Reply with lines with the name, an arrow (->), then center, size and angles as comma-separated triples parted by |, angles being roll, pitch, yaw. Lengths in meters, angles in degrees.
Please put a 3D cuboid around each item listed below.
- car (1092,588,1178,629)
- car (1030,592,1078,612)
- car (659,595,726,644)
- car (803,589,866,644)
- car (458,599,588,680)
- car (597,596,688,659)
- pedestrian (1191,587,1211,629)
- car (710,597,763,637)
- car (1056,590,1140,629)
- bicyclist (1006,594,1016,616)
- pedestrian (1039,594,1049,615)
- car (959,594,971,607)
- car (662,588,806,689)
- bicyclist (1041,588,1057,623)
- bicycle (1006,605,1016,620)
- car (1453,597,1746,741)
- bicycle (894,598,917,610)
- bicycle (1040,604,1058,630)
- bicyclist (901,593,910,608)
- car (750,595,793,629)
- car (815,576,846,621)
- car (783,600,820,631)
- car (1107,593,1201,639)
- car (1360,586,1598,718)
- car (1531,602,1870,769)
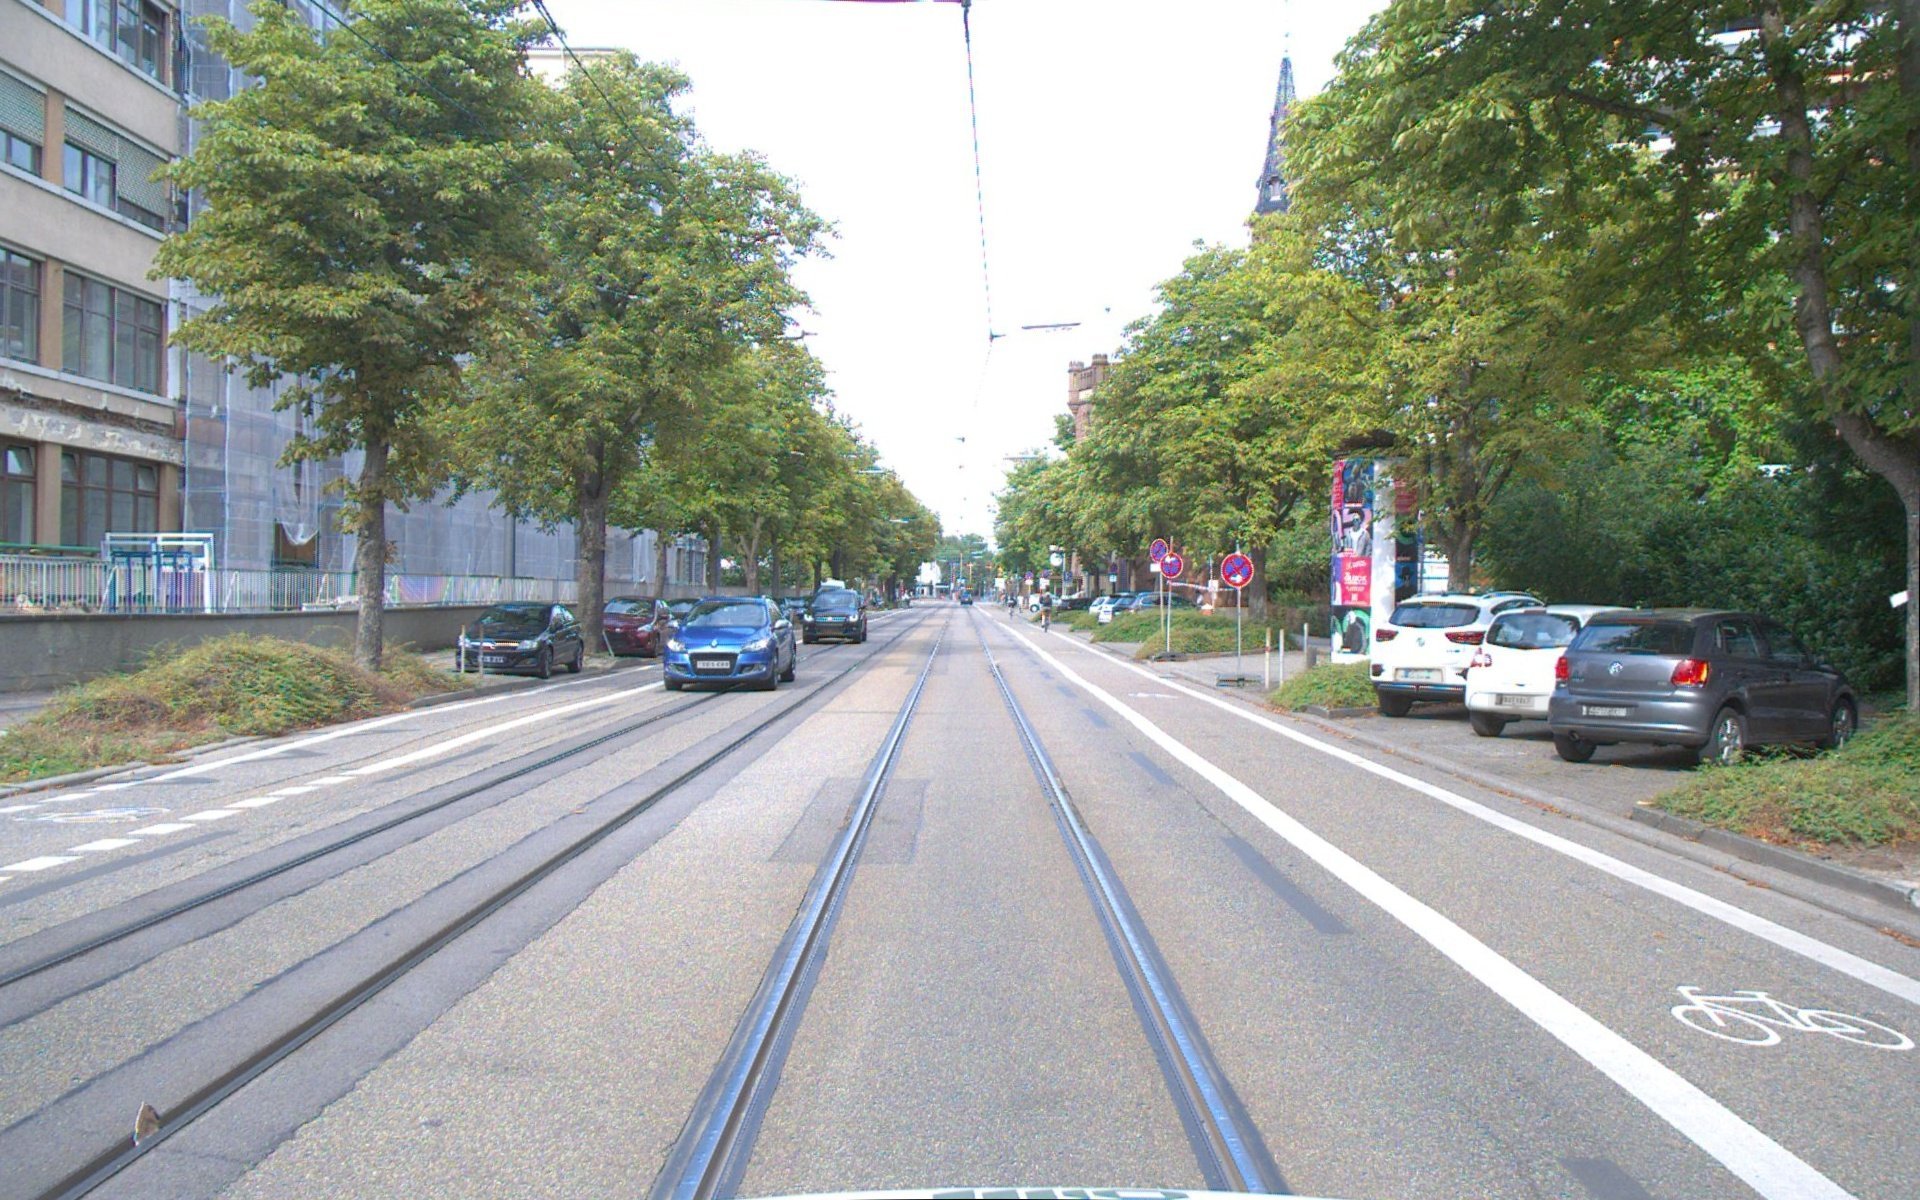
car -> 7.229, 0.358, 68.226 | 1.654, 1.630, 3.621 | 0, 0, 44
car -> 8.236, 0.170, 144.605 | 3.910, 1.722, 1.998 | 1, 0, -6
car -> -8.320, 0.587, 51.729 | 1.558, 1.427, 3.961 | 1, 0, -2
car -> -3.908, 0.488, 52.005 | 1.697, 1.657, 4.377 | 0, 0, -1
car -> -8.342, 0.710, 31.869 | 1.558, 1.427, 3.961 | 1, 0, -2
car -> -8.117, 0.667, 42.532 | 1.602, 1.522, 3.962 | 1, 0, -1
pedestrian -> 10.962, 0.357, 75.165 | 0.769, 1.858, 0.662 | 1, 0, 20
car -> -8.340, 0.600, 62.041 | 1.558, 1.427, 3.961 | 1, 0, -2
car -> 5.869, 0.402, 70.327 | 1.654, 1.630, 3.621 | 0, 0, 44
bicyclist -> 3.559, 0.358, 115.715 | 0.645, 1.522, 0.929 | 1, 0, 0
pedestrian -> 7.355, 0.368, 144.246 | 0.732, 1.821, 0.731 | 1, -1, 15
car -> 0.733, 0.095, 241.002 | 1.758, 1.855, 4.677 | 1, 0, -1
car -> -3.654, 0.575, 27.448 | 1.696, 1.522, 4.379 | 0, 1, 1
bicyclist -> 3.774, 0.237, 70.259 | 0.581, 1.485, 0.875 | 1, 0, -2
bicycle -> 3.547, 0.873, 115.711 | 0.650, 1.062, 1.841 | 1, 0, 0
car -> 7.460, 0.745, 19.170 | 3.612, 1.500, 1.658 | 1, 0, -40
bicycle -> -5.602, 0.439, 169.762 | 2.226, 1.210, 0.769 | 1, 0, 8
bicycle -> 3.763, 0.708, 70.258 | 0.581, 1.062, 1.977 | 1, 0, -2
bicyclist -> -5.580, 0.004, 169.756 | 0.828, 1.531, 0.769 | 1, 0, 7
car -> -8.210, 0.503, 72.341 | 1.558, 1.427, 3.961 | 1, 0, -2
car -> -8.260, -0.107, 106.108 | 1.686, 2.751, 5.468 | 1, 0, -2
car -> -7.893, 0.756, 82.564 | 1.558, 1.427, 3.961 | 1, 0, -2
car -> 7.220, 0.589, 61.426 | 1.654, 1.630, 3.621 | 0, 0, 44
car -> 7.076, 0.663, 22.381 | 1.654, 1.630, 3.621 | 0, 0, 44
car -> 7.326, 0.767, 16.241 | 3.612, 1.444, 1.658 | 1, 0, -40
